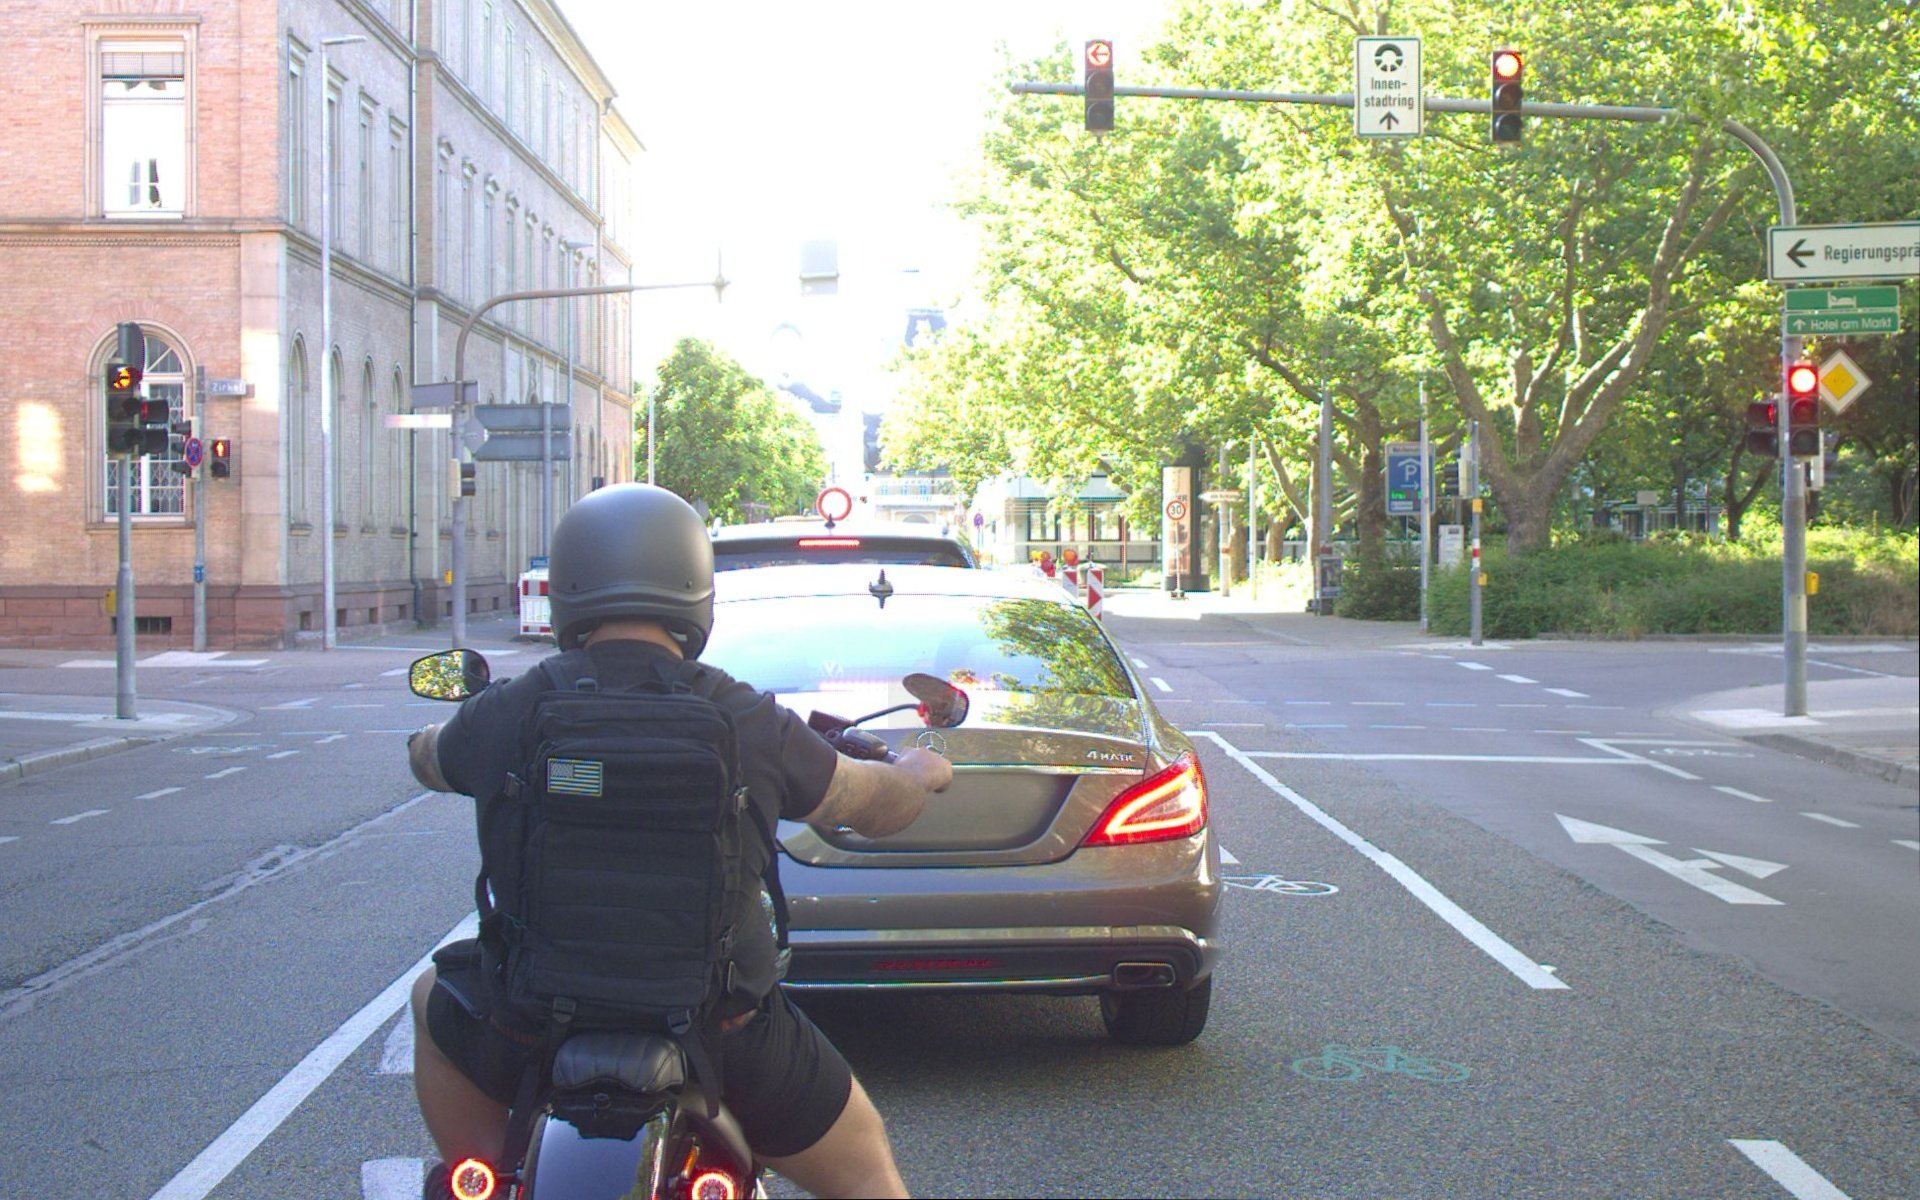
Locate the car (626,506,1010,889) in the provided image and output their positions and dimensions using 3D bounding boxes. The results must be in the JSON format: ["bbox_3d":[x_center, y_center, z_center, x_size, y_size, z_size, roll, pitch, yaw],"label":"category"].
[{"bbox_3d":[-0.638,0.406,16.978,1.651,1.646,4.000,1,1,-1],"label":"car"}]

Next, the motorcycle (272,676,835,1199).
[{"bbox_3d":[-0.562,0.775,5.427,0.660,1.236,2.058,1,1,-1],"label":"motorcycle"}]

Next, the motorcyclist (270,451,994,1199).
[{"bbox_3d":[-0.465,0.597,5.332,0.990,1.605,1.120,1,0,-1],"label":"motorcyclist"}]

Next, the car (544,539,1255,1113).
[{"bbox_3d":[-0.407,0.570,11.132,1.824,1.481,4.334,1,1,-7],"label":"car"}]
